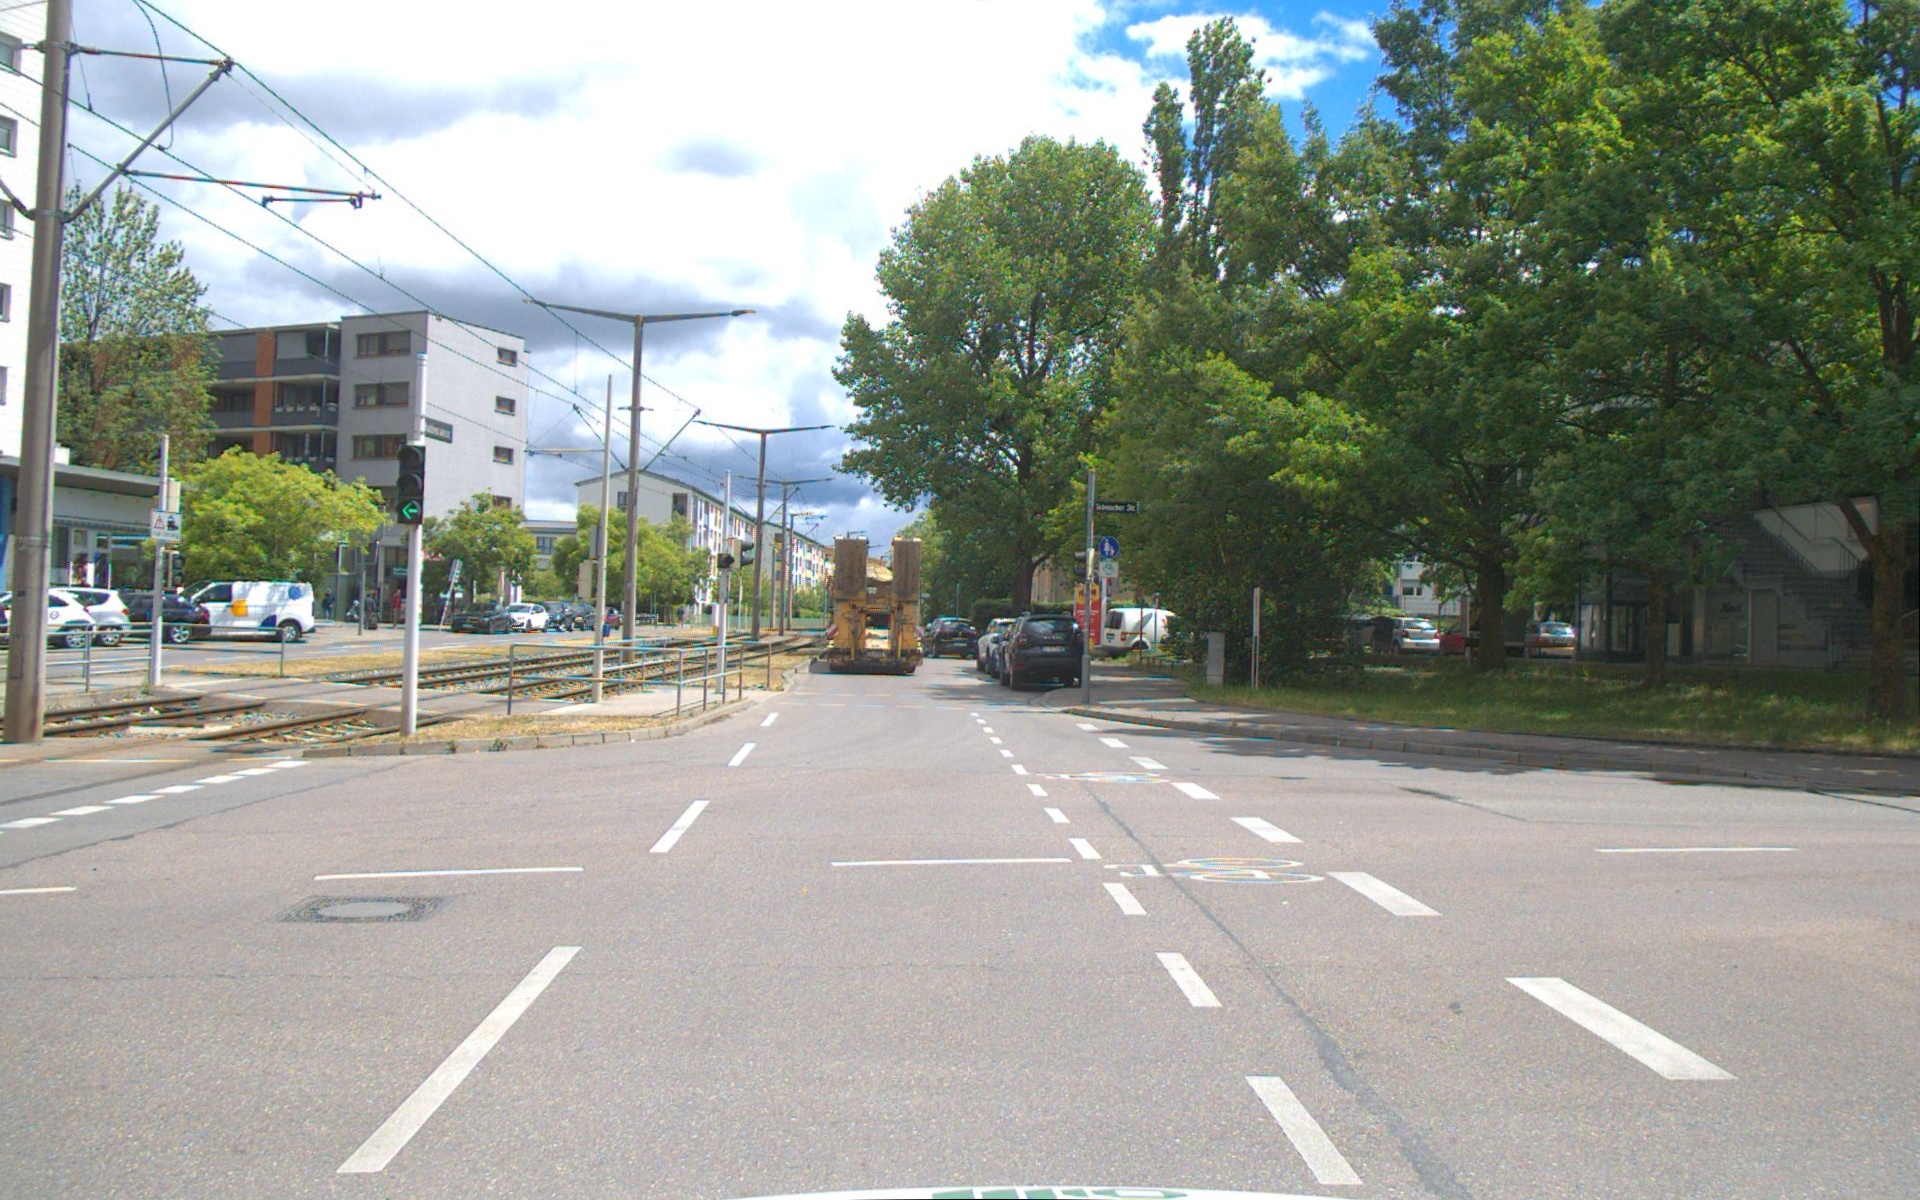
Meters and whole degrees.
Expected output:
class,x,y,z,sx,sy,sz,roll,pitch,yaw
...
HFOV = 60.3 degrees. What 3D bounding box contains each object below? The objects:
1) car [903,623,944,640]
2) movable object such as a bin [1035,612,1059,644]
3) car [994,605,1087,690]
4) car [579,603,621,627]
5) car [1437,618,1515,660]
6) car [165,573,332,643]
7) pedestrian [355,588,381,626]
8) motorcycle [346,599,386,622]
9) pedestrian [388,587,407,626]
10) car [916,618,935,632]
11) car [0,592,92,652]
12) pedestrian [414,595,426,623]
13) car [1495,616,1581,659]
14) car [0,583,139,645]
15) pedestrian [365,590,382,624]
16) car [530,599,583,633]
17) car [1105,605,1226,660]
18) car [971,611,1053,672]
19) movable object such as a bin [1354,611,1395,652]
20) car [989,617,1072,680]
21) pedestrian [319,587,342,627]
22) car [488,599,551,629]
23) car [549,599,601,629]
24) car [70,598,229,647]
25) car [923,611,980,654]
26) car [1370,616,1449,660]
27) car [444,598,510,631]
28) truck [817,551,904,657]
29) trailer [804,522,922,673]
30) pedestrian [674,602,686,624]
class,x,y,z,sx,sy,sz,roll,pitch,yaw
car,-3.449,2.971,155.612,3.521,1.612,2.001,1,-1,11
movable object such as a bin,4.064,1.320,77.300,1.076,1.464,0.761,1,0,-4
car,1.794,1.042,38.217,1.611,1.793,4.566,1,0,-4
car,-22.517,0.896,103.474,1.579,1.451,3.425,1,0,5
car,19.333,1.444,62.081,1.707,1.468,4.000,1,0,1
car,-23.358,0.247,54.419,4.723,2.194,1.876,0,0,-43
pedestrian,-26.676,0.320,74.546,0.823,1.678,0.613,2,0,12
motorcycle,-31.633,0.553,88.059,1.854,1.199,0.741,1,0,-4
pedestrian,-26.806,0.312,78.801,0.599,1.824,0.843,1,0,-2
car,-3.642,2.614,174.254,1.953,1.411,3.999,1,0,-1
car,-24.811,0.548,42.960,3.733,1.522,1.721,0,0,-41
pedestrian,-28.242,0.471,86.538,0.492,1.485,0.555,1,0,-29
car,21.670,1.370,62.137,1.708,1.496,3.998,1,0,-2
car,-25.182,0.367,45.850,1.873,1.660,3.974,1,0,43
pedestrian,-27.802,0.337,78.381,0.656,1.601,0.682,1,0,-29
car,-21.645,0.862,88.863,1.954,1.691,4.097,2,0,-3
car,7.275,1.138,58.618,3.936,1.855,1.796,0,0,-25
car,1.438,1.154,47.455,1.749,1.592,4.563,1,0,-6
movable object such as a bin,14.945,1.124,59.641,1.093,1.455,1.284,1,0,-4
car,1.776,1.218,42.724,1.612,1.483,4.071,1,0,-5
pedestrian,-28.866,0.301,75.811,0.832,1.824,0.864,1,0,-32
car,-22.437,0.687,84.383,1.717,1.501,4.402,1,0,4
car,-22.488,0.796,96.737,1.952,1.677,4.100,1,0,1
car,-24.467,0.649,49.984,3.967,1.408,1.876,0,0,-43
car,-0.348,1.171,60.587,1.780,1.474,3.822,1,0,-5
car,16.874,1.409,62.234,1.900,1.516,4.000,1,0,0
car,-22.547,0.676,77.422,1.699,1.453,4.381,0,0,1
truck,-3.433,0.115,57.222,2.777,3.388,7.979,1,0,-3
trailer,-2.816,-0.078,48.130,2.990,3.839,11.604,1,0,-3
pedestrian,-21.418,0.988,126.411,0.734,1.691,0.869,0,0,3
